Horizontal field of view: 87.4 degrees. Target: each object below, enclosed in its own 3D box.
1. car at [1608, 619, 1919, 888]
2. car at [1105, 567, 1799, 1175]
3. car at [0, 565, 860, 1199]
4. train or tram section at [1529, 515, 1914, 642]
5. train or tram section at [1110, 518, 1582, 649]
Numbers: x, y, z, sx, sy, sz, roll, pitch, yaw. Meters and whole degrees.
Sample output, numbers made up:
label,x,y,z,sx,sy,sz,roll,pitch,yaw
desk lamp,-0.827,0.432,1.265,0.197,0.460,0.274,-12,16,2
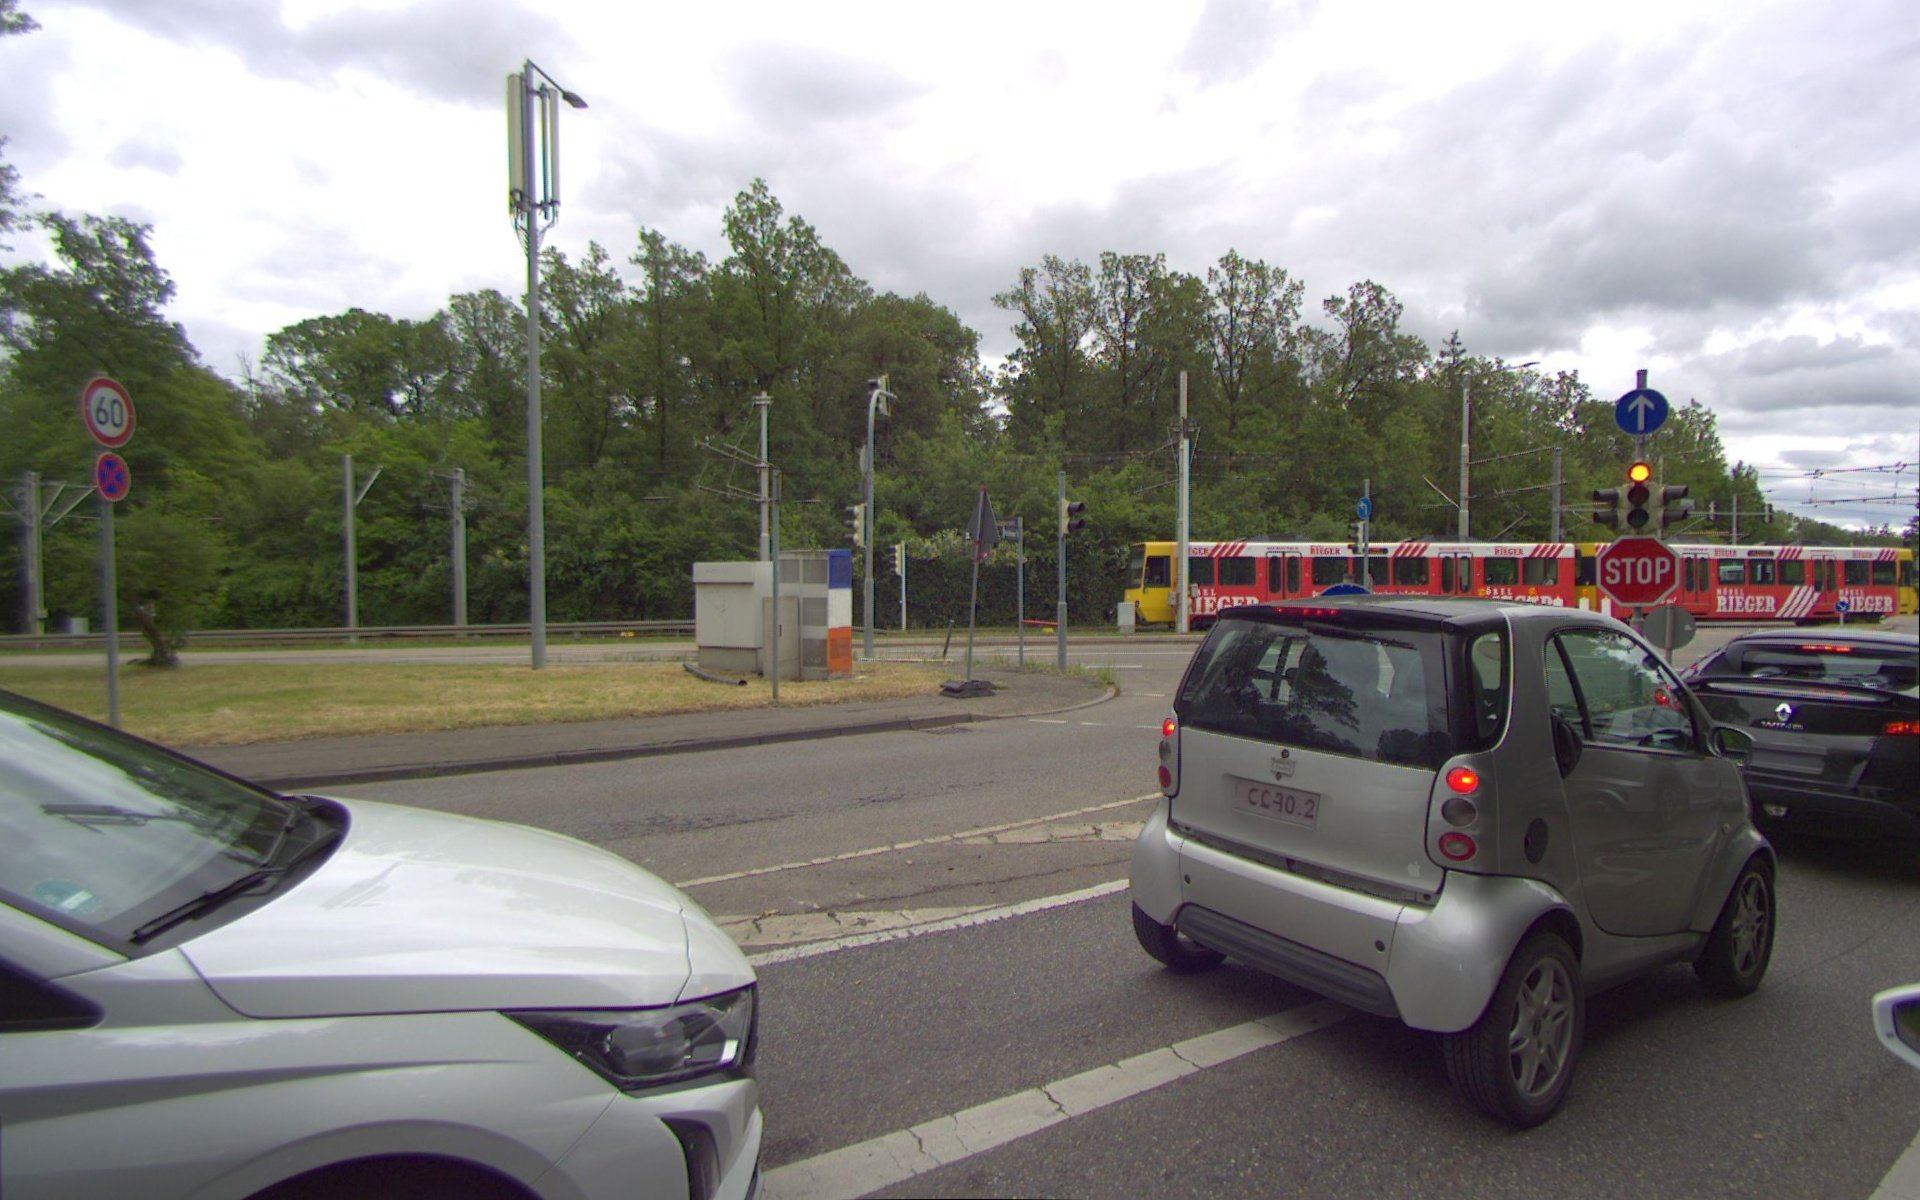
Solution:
label,x,y,z,sx,sy,sz,roll,pitch,yaw
car,6.037,0.849,6.911,3.448,1.380,1.759,0,0,-41
car,2.057,0.724,4.050,2.701,1.607,1.447,0,0,-36
car,-2.327,0.708,1.608,4.022,1.499,1.643,0,0,-28
train or tram section,33.519,-0.774,43.941,18.240,4.712,2.947,2,0,-16
train or tram section,15.447,-0.552,40.412,18.380,4.477,2.962,2,0,-7
